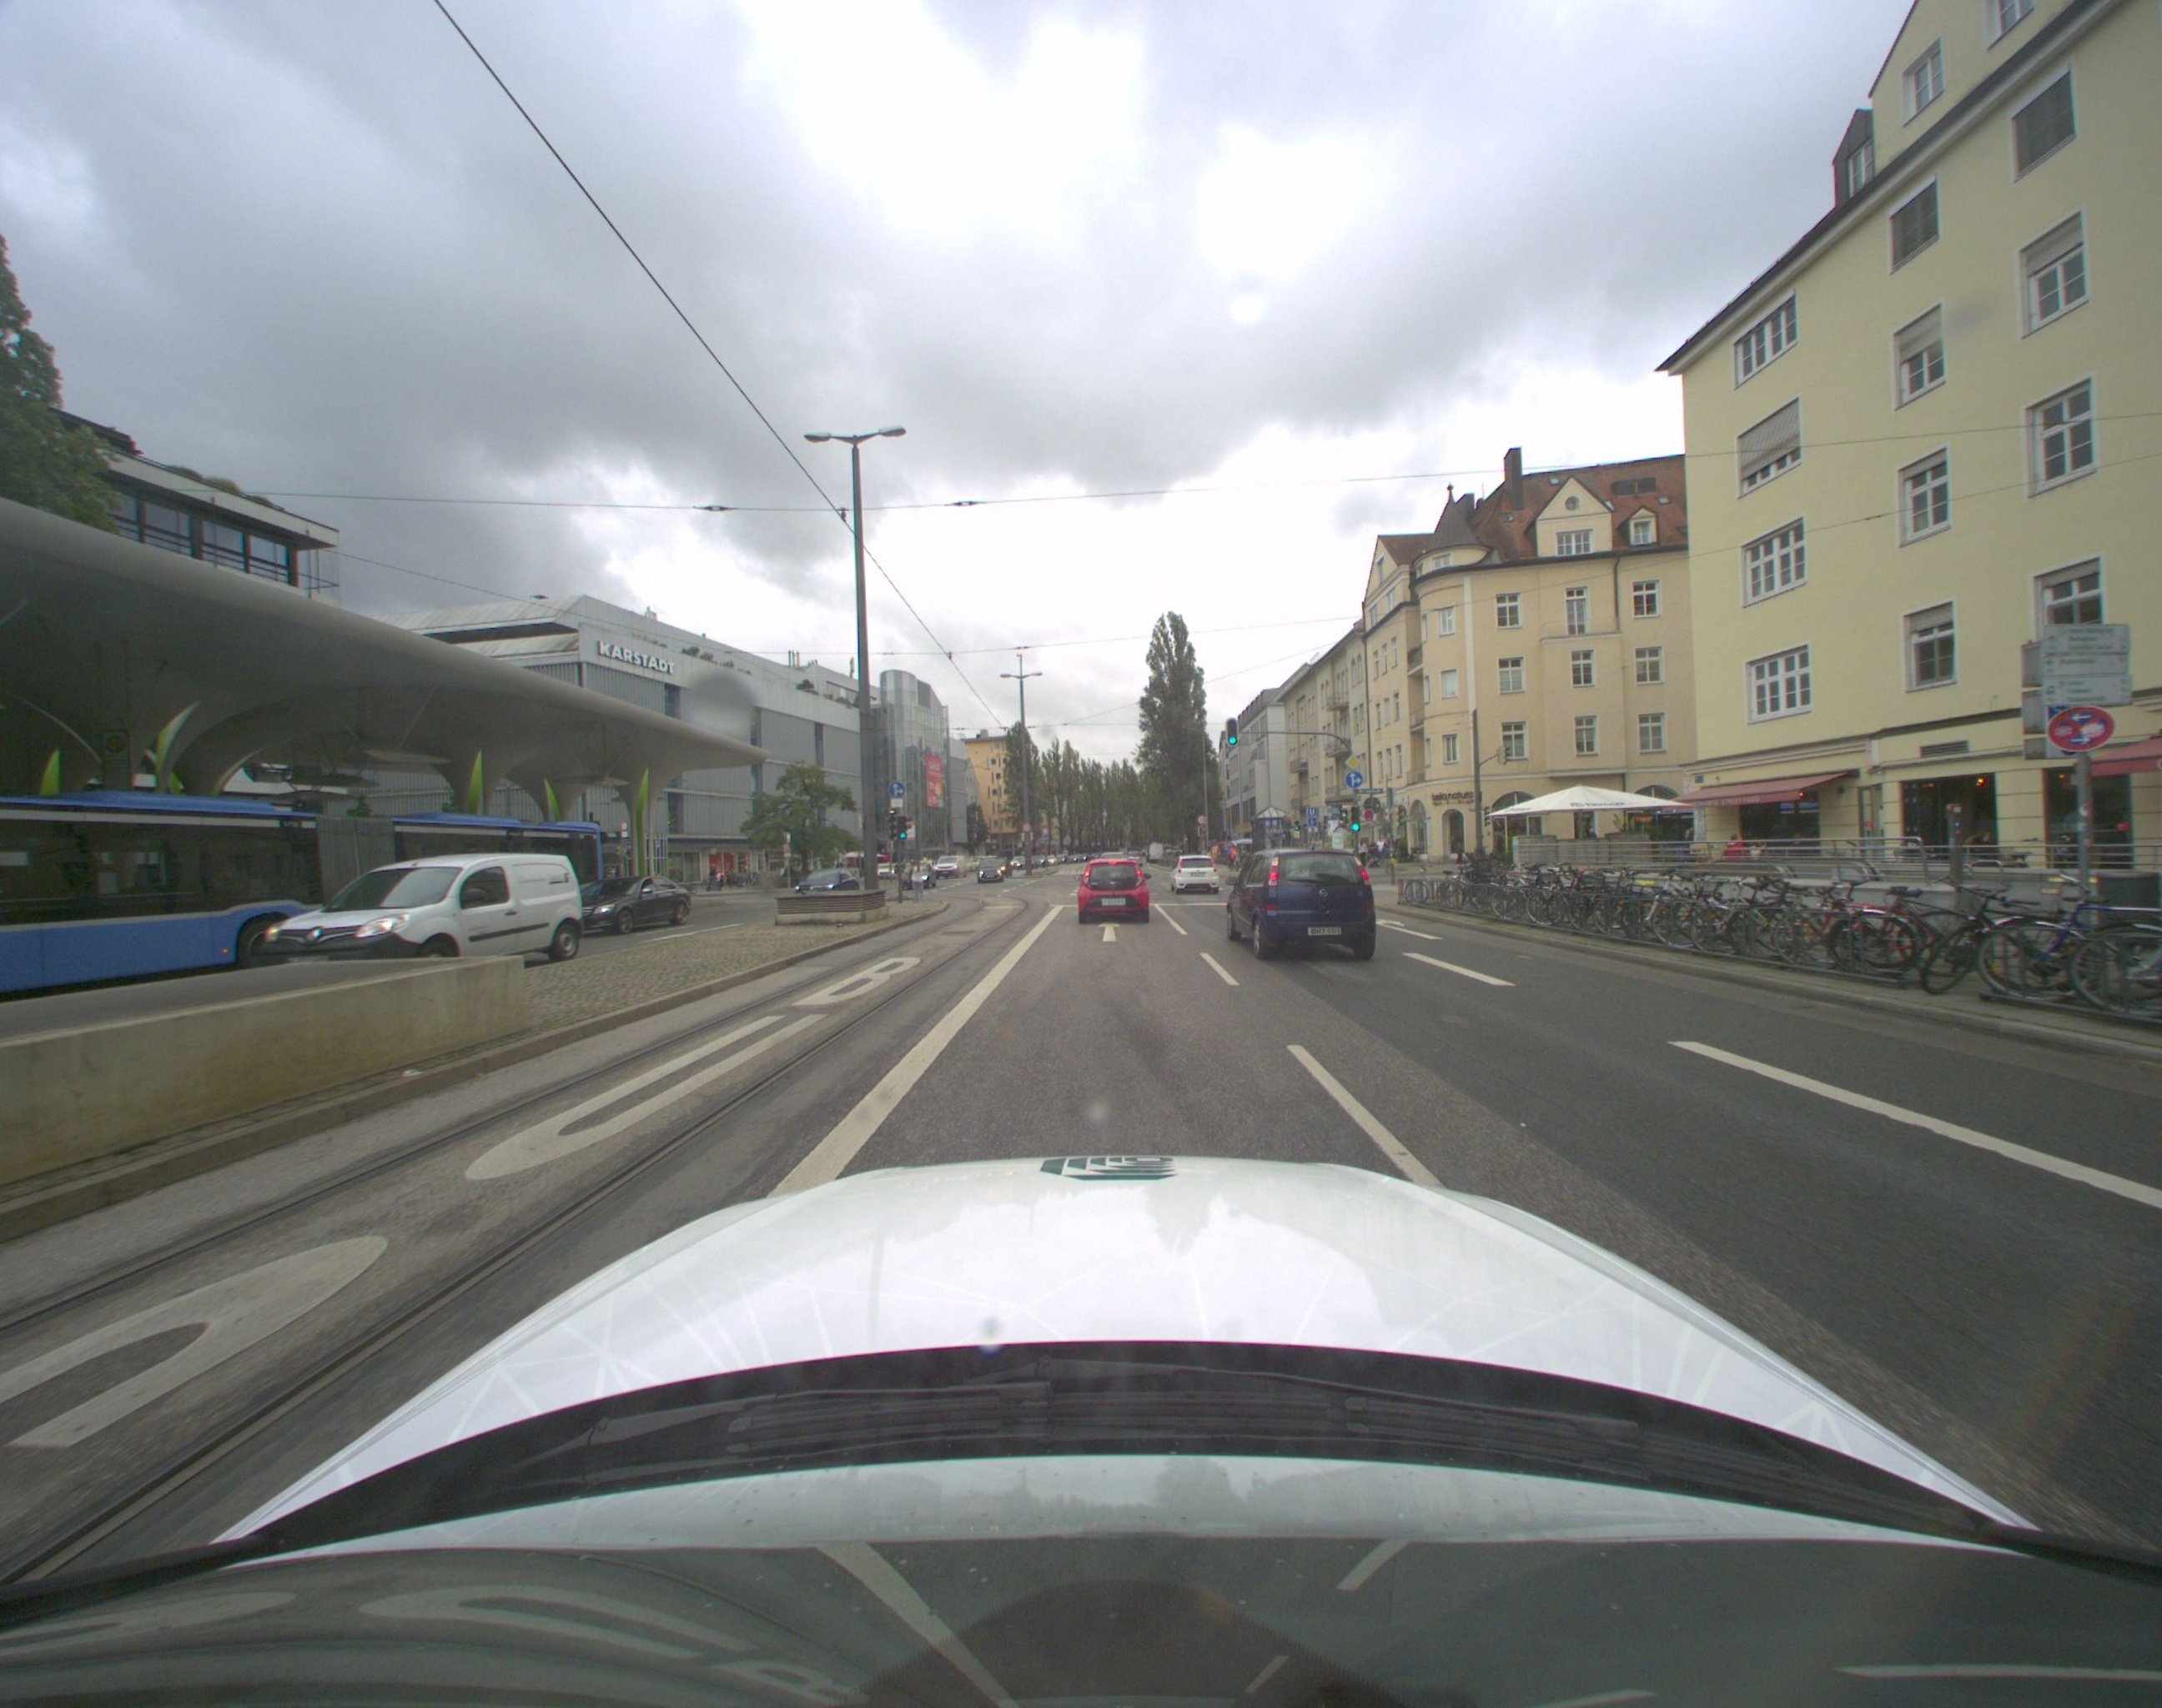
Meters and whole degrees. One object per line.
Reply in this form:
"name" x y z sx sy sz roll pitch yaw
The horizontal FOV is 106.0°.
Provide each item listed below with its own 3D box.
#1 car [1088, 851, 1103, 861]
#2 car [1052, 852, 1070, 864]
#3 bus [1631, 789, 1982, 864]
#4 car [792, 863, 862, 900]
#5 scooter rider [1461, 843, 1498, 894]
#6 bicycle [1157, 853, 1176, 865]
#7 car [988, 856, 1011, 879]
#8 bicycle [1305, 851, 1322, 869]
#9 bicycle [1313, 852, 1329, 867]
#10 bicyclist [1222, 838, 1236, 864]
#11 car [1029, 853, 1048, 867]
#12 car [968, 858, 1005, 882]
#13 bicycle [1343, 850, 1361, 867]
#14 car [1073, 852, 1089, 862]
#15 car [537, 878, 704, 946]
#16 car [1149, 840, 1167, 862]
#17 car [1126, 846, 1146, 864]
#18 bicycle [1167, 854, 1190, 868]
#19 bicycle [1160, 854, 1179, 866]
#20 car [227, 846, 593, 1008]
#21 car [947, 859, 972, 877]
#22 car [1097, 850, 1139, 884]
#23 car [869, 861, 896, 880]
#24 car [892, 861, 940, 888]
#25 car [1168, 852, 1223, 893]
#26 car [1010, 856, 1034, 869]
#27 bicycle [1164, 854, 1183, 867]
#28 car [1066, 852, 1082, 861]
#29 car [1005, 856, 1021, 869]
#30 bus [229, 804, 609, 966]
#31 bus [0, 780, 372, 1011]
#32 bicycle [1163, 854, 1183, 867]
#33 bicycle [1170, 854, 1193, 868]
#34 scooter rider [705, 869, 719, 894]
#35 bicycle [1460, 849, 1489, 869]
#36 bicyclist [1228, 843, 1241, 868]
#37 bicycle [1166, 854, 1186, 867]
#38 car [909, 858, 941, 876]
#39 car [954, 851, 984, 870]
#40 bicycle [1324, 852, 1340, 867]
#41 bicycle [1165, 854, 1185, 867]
"car" 2.656 0.323 152.570 1.981 1.691 4.935 -2 0 10
"car" -3.056 0.550 125.581 1.924 1.738 4.601 -2 0 10
"bus" 35.758 -1.319 40.790 13.468 2.966 2.825 -2 1 12
"car" -11.084 1.173 35.790 1.672 1.395 4.232 -3 0 0
"scooter rider" 11.207 0.412 22.913 0.698 1.389 0.643 -2 0 0
"bicycle" 8.745 0.527 83.527 1.814 1.136 0.590 -2 0 38
"car" -5.803 0.929 57.726 1.502 1.534 2.830 -2 0 -7
"bicycle" 15.003 0.367 52.602 0.564 1.107 1.867 -2 0 2
"bicycle" 15.500 0.338 52.570 0.492 0.975 1.867 -2 0 2
"bicyclist" 11.039 -0.203 60.771 0.759 1.869 1.133 -2 0 3
"car" -5.460 0.742 104.982 1.735 1.670 4.739 -3 0 5
"car" -6.091 1.011 52.230 1.551 1.445 3.514 -2 0 -21
"bicycle" 17.470 0.263 52.516 0.493 1.059 1.865 -2 0 -2
"car" 0.022 0.541 142.730 1.980 1.534 4.603 -2 0 12
"car" -11.878 1.427 21.431 1.667 1.378 4.614 -3 0 1
"car" 10.192 -0.372 108.121 2.098 2.718 4.808 -2 0 3
"car" 5.971 0.078 88.050 1.986 1.838 4.002 -2 0 2
"bicycle" 8.389 0.618 70.082 1.781 1.111 0.656 -2 0 39
"bicycle" 8.688 0.552 79.837 1.815 1.136 0.590 -2 0 45
"car" -9.326 0.878 11.901 1.780 1.855 4.217 -3 0 -1
"car" -11.282 1.268 75.808 1.658 1.508 4.281 -2 0 0
"car" 1.874 0.630 41.825 1.986 1.618 4.002 -2 0 2
"car" -18.072 1.510 74.238 1.994 1.536 4.399 -3 1 -10
"car" -9.654 1.153 47.924 1.836 1.416 4.037 -2 0 2
"car" 4.401 0.671 31.713 1.693 1.426 3.498 -2 0 2
"car" -6.748 0.956 93.983 1.984 1.411 4.175 3 0 6
"bicycle" 8.429 0.611 74.254 1.782 1.111 0.494 -2 0 45
"car" -1.126 0.478 135.428 1.833 1.382 4.615 -1 -1 11
"car" -8.786 1.098 105.647 1.692 1.596 4.001 -2 0 1
"bus" -15.163 0.604 19.719 2.650 3.007 7.517 -4 0 2
"bus" -15.416 0.621 10.726 2.651 3.007 10.516 -4 0 1
"bicycle" 8.473 0.579 74.917 1.815 1.168 0.590 -2 0 45
"bicycle" 8.385 0.599 68.019 1.781 1.158 0.656 -2 0 38
"scooter rider" -27.111 2.006 59.797 0.663 1.835 0.620 -2 0 -2
"bicycle" 21.590 0.253 44.718 1.580 1.033 0.247 -2 0 -13
"bicyclist" 10.254 0.088 54.501 0.611 1.657 1.252 -2 0 3
"bicycle" 8.433 0.615 72.159 1.782 1.111 0.566 -2 0 44
"car" -14.930 1.229 78.152 1.893 1.543 4.396 -2 0 3
"car" -12.524 0.671 91.702 1.983 2.013 5.533 -2 0 6
"bicycle" 16.177 0.337 52.556 0.492 0.975 1.867 -2 0 2
"bicycle" 8.459 0.612 73.587 1.782 1.111 0.590 -2 0 45
